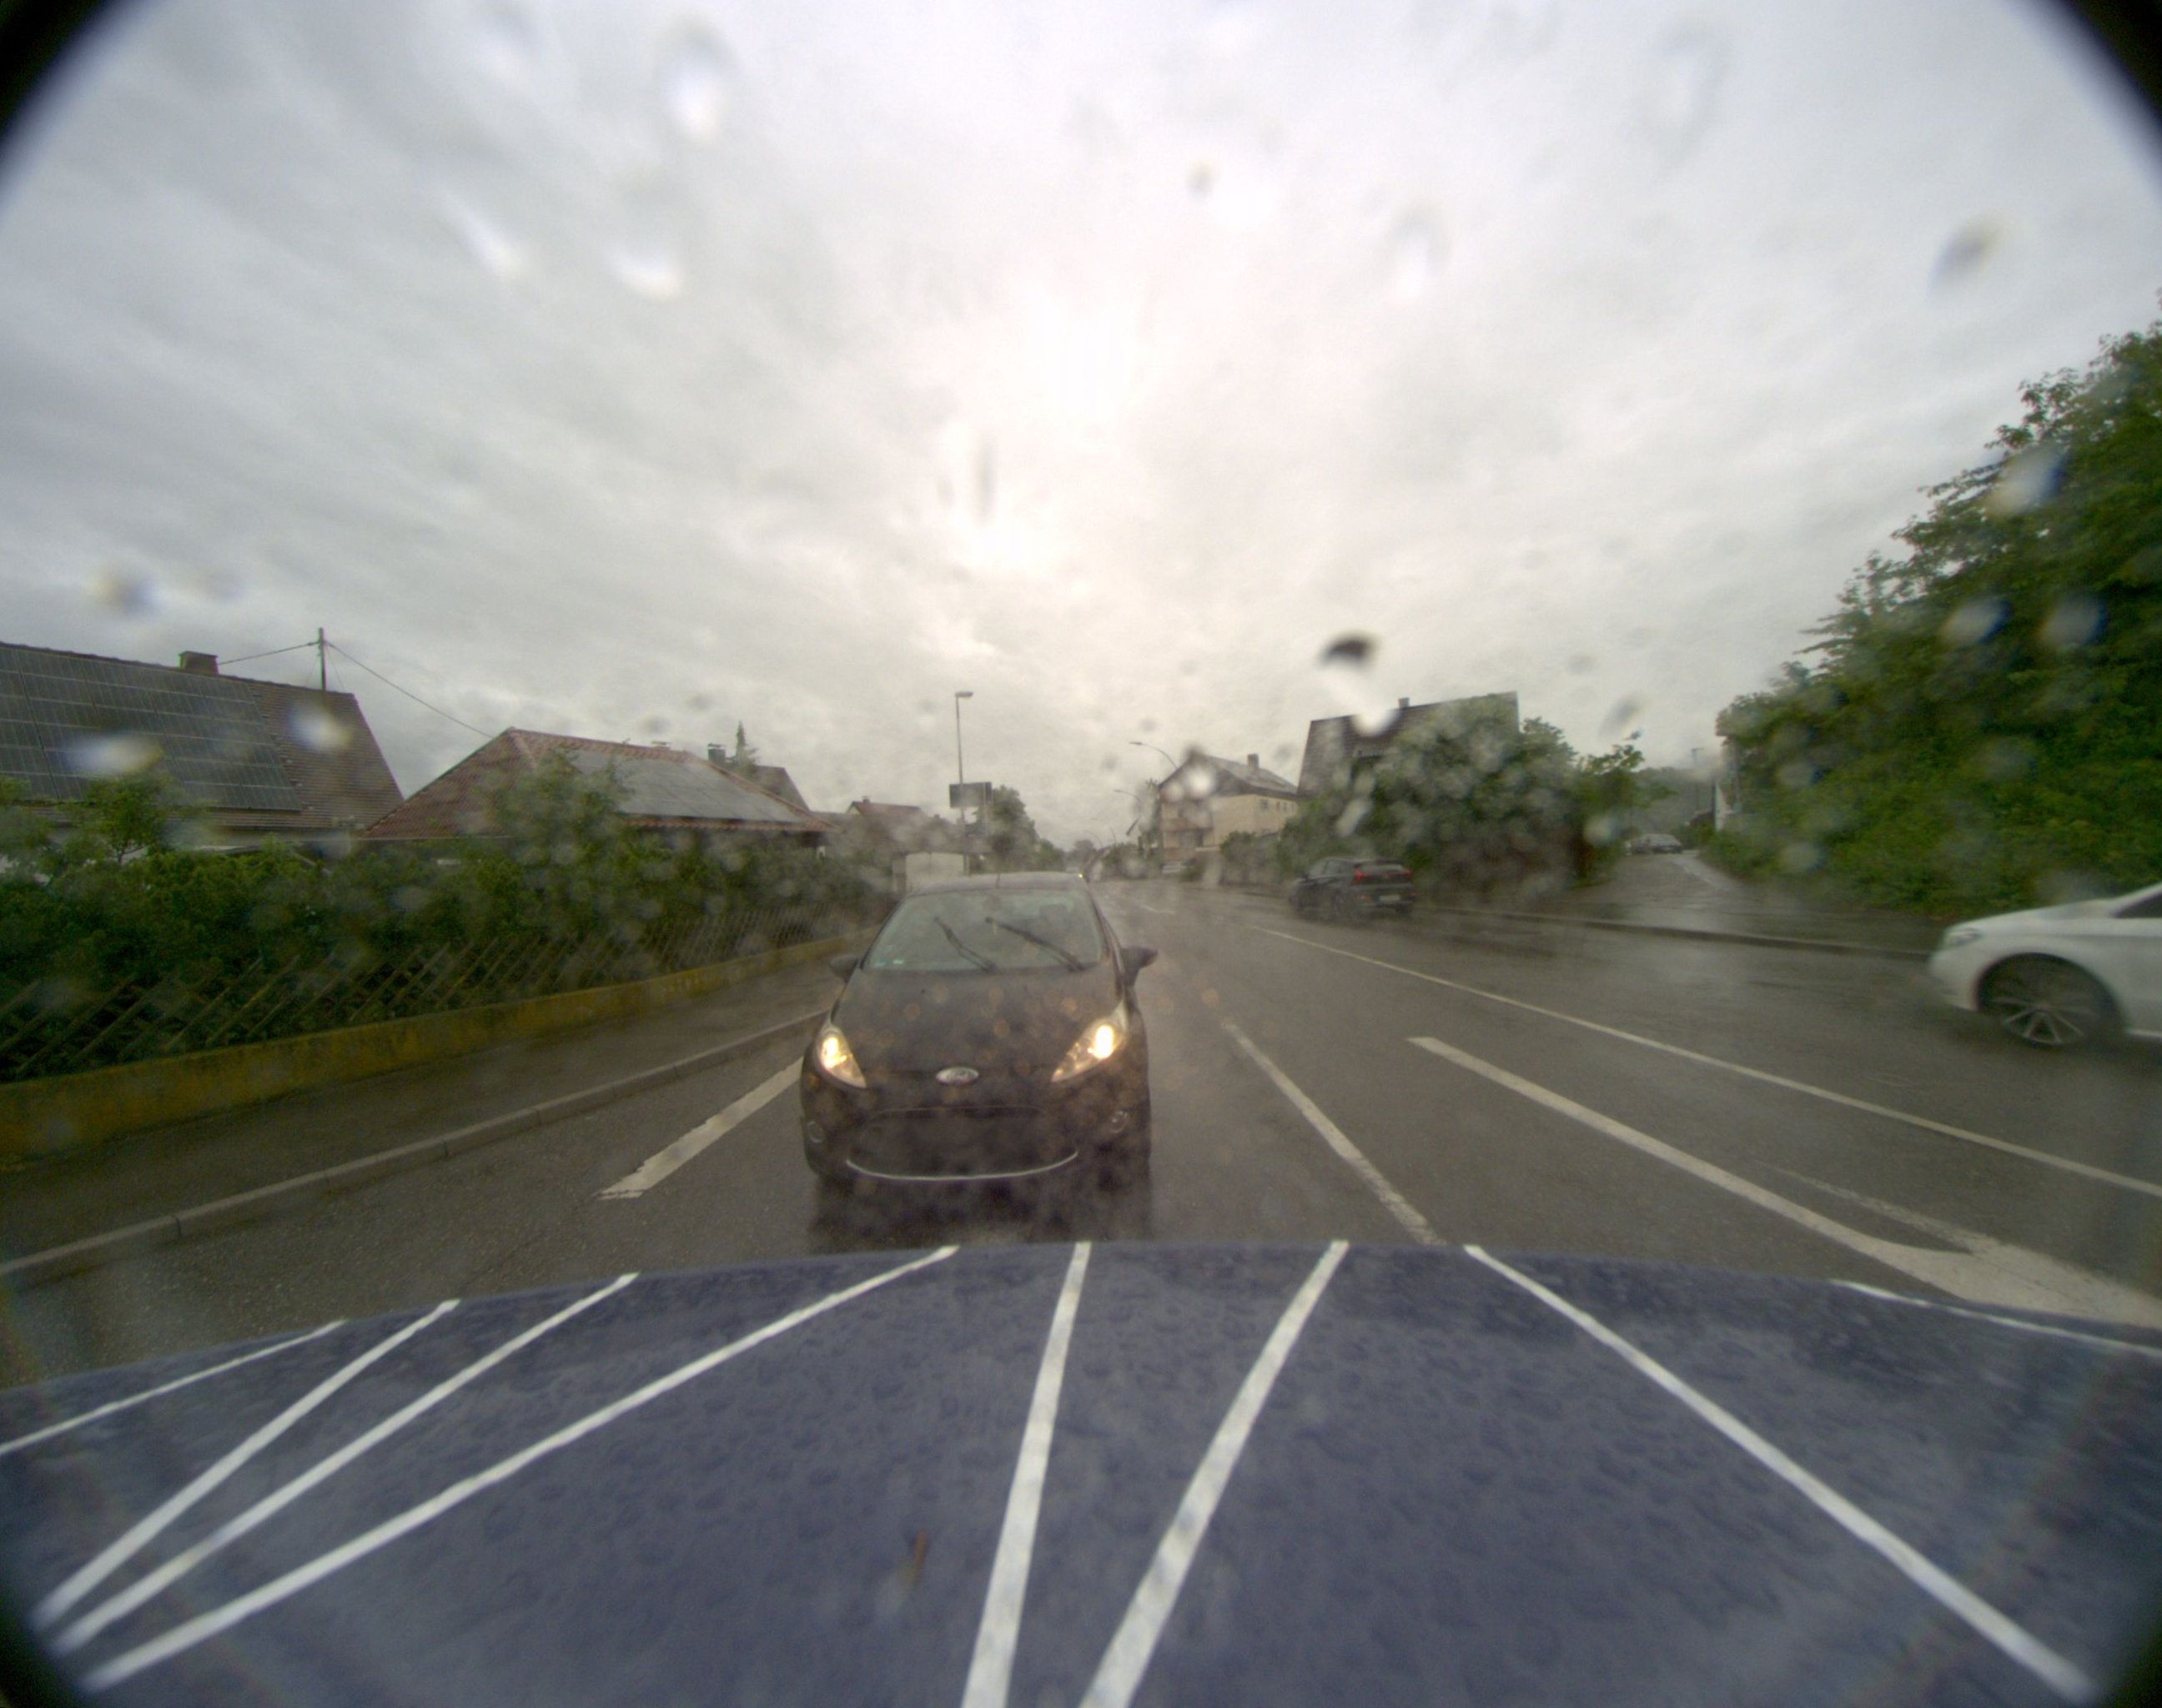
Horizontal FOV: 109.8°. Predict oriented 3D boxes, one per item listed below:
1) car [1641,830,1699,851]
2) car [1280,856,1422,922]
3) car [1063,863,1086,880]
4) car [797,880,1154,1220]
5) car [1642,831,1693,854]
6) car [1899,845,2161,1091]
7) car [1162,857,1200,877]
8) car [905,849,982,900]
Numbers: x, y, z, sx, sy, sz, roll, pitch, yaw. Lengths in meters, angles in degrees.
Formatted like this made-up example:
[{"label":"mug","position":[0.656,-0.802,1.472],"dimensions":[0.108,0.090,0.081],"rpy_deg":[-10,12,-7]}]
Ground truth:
[{"label":"car","position":[45.615,-1.033,58.926],"dimensions":[1.997,1.477,4.004],"rpy_deg":[-3,0,13]},{"label":"car","position":[6.590,0.788,19.043],"dimensions":[1.670,1.430,4.105],"rpy_deg":[-1,0,-8]},{"label":"car","position":[-0.607,1.572,69.390],"dimensions":[1.899,1.474,3.999],"rpy_deg":[-2,0,-3]},{"label":"car","position":[-0.552,1.014,5.646],"dimensions":[1.666,1.410,3.931],"rpy_deg":[-2,1,-1]},{"label":"car","position":[40.788,-0.770,52.936],"dimensions":[1.895,1.474,4.007],"rpy_deg":[-2,0,24]},{"label":"car","position":[7.537,0.698,3.933],"dimensions":[1.670,1.496,4.318],"rpy_deg":[-1,0,-8]},{"label":"car","position":[8.827,1.102,66.874],"dimensions":[1.661,1.538,4.007],"rpy_deg":[-2,1,34]},{"label":"car","position":[-6.916,0.984,38.556],"dimensions":[1.650,2.337,4.007],"rpy_deg":[-2,0,27]}]
